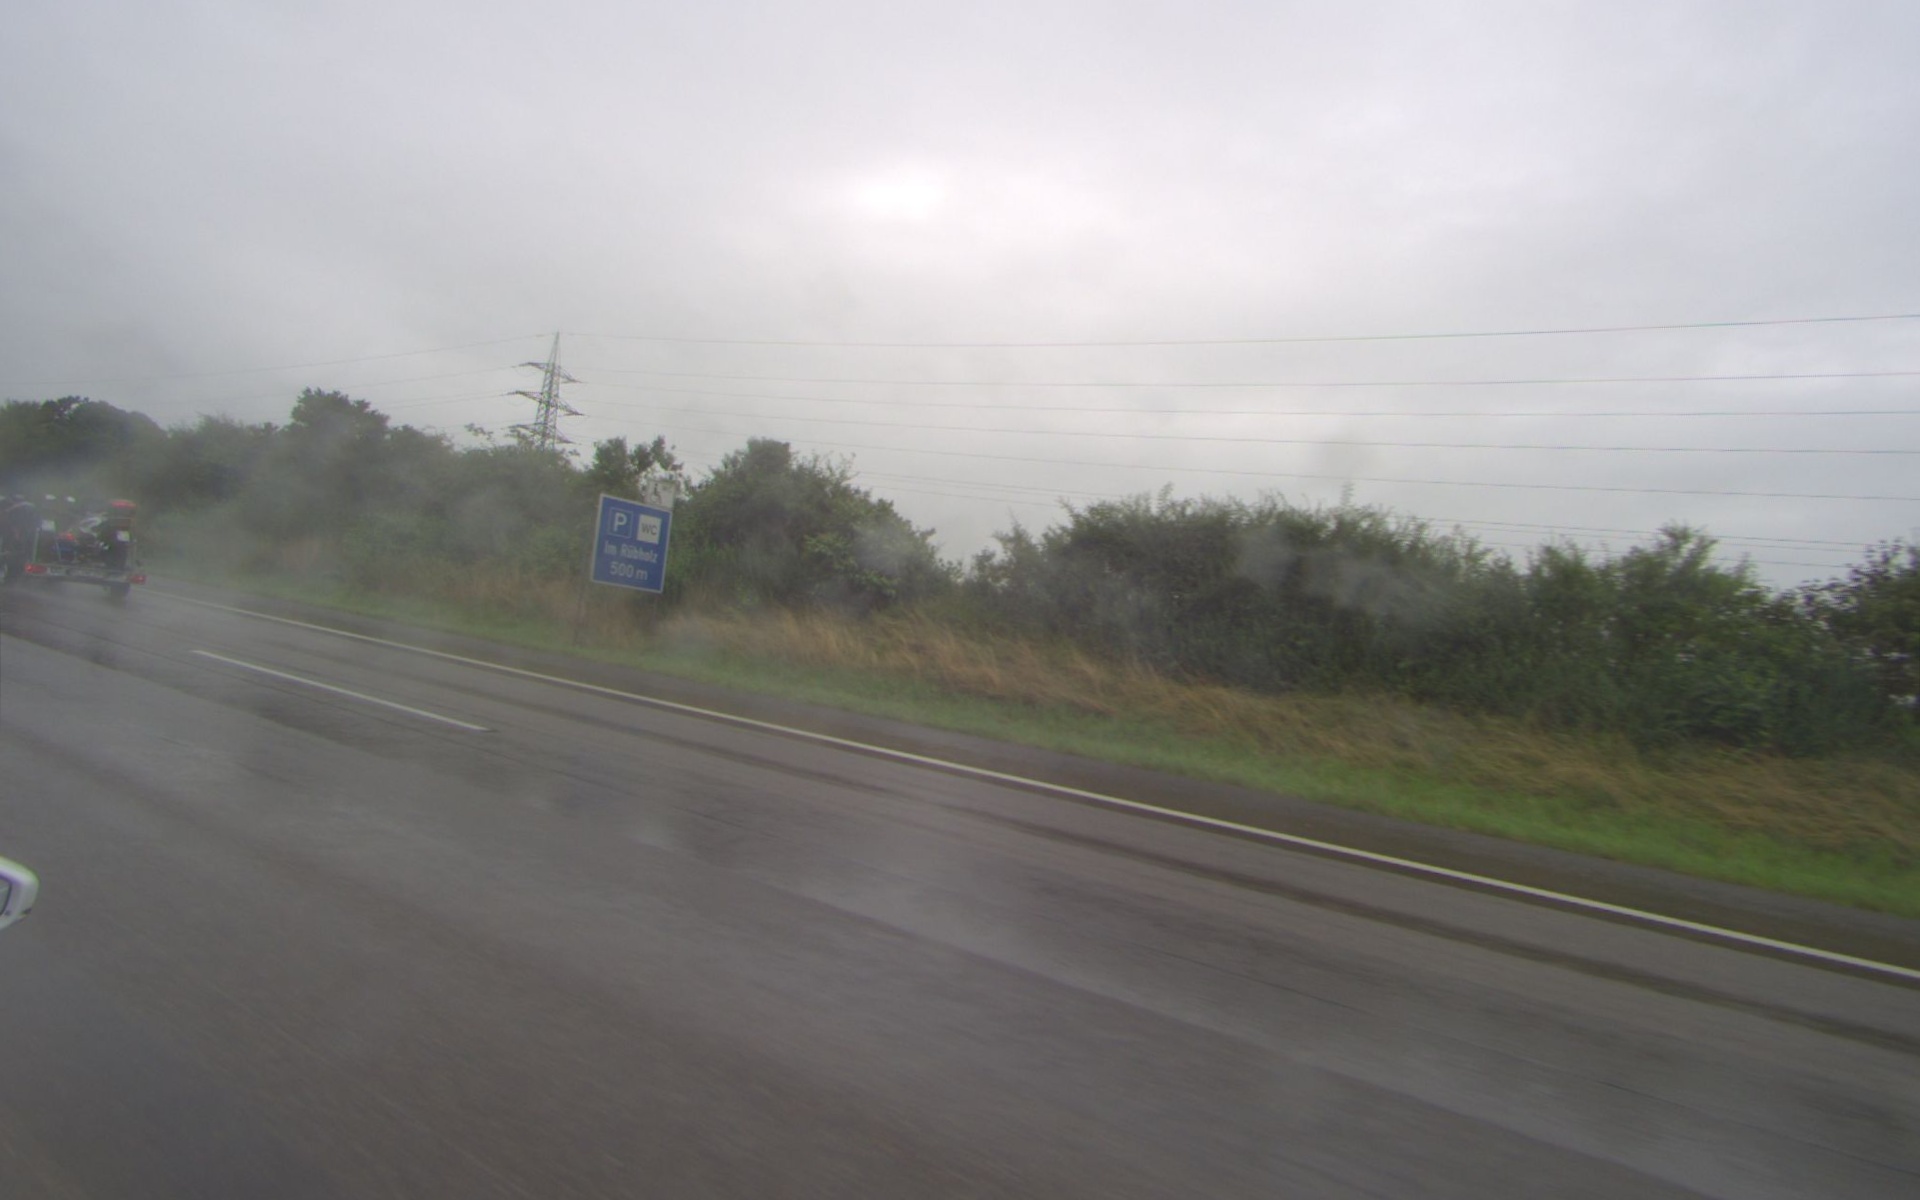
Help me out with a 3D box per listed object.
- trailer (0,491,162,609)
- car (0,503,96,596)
[{"bbox_3d":[-16.800,-0.950,18.707,3.136,1.806,1.982,6,-2,31],"label":"trailer"},{"bbox_3d":[-20.251,-1.198,20.832,4.909,1.638,1.997,6,-2,31],"label":"car"}]
